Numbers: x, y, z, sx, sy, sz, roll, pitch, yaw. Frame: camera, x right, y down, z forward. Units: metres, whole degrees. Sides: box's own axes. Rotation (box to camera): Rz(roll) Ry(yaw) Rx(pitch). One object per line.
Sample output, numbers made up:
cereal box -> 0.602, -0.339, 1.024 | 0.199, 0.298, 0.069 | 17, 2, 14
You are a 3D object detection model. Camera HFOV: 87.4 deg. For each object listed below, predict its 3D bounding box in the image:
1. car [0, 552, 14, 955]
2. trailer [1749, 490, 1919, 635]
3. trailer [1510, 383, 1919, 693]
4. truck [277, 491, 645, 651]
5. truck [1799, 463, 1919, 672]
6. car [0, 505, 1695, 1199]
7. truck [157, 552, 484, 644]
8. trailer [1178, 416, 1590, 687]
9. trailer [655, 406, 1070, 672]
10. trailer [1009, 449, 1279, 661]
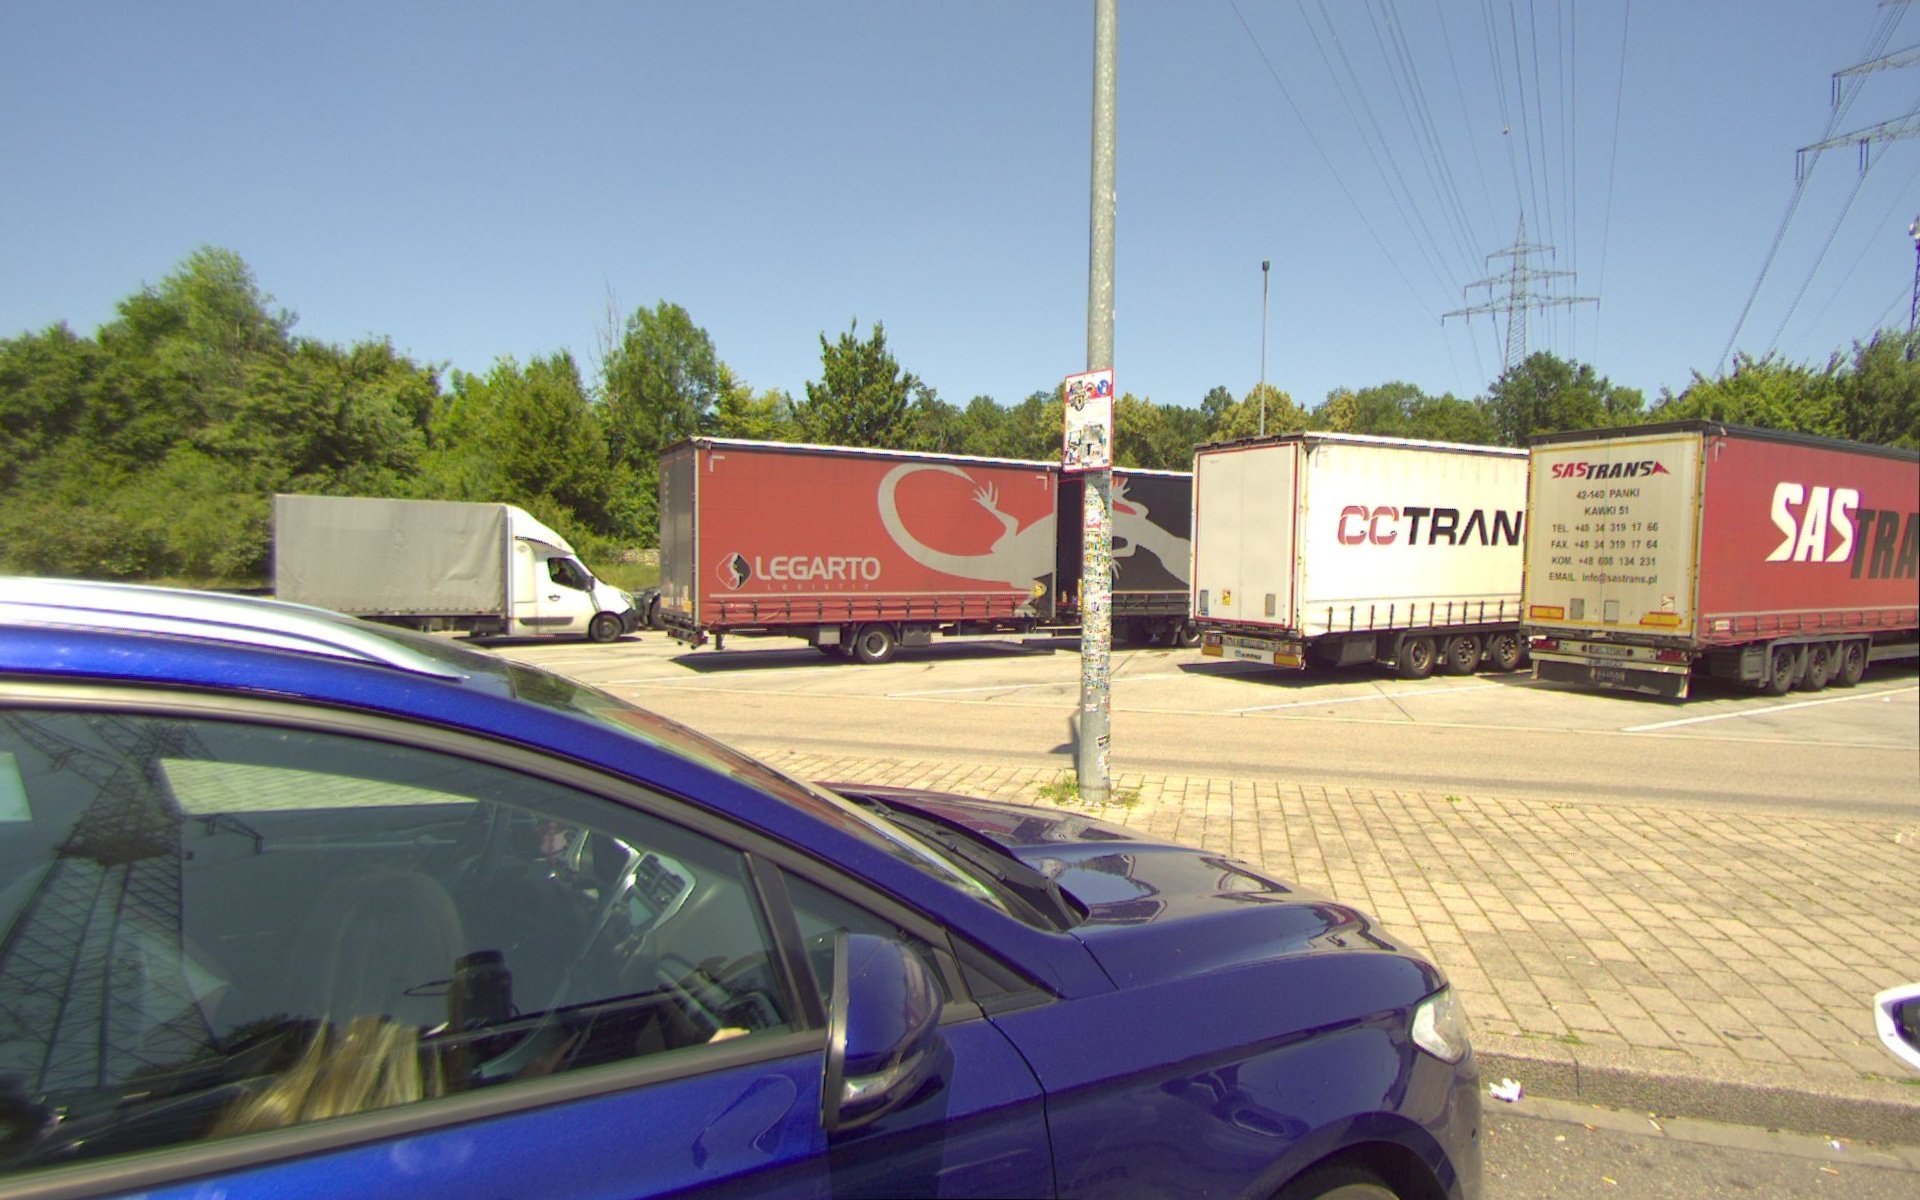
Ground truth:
car -> -4.331, 0.514, 2.171 | 3.077, 1.378, 1.334 | 1, 0, -30
trailer -> 28.378, -1.038, 29.581 | 7.727, 4.121, 2.265 | 2, 0, 14
trailer -> 15.261, -0.829, 18.428 | 13.046, 4.276, 2.786 | 0, 0, -31
truck -> -11.061, -0.564, 22.789 | 7.171, 3.194, 2.160 | 0, 1, -30
truck -> 21.442, -0.633, 22.065 | 5.824, 4.189, 2.792 | 0, 0, -30
car -> -0.989, 0.652, 1.459 | 4.362, 1.437, 1.731 | 1, 0, -30
truck -> -15.385, -0.029, 24.695 | 6.538, 2.040, 1.984 | 0, 0, -30
trailer -> 8.135, -0.756, 18.856 | 8.189, 4.208, 2.741 | 0, 1, -30
trailer -> -1.782, -1.016, 20.195 | 7.963, 4.510, 2.648 | 0, 0, -31
trailer -> 4.451, -0.947, 24.031 | 6.076, 4.505, 2.665 | 0, 0, -30
